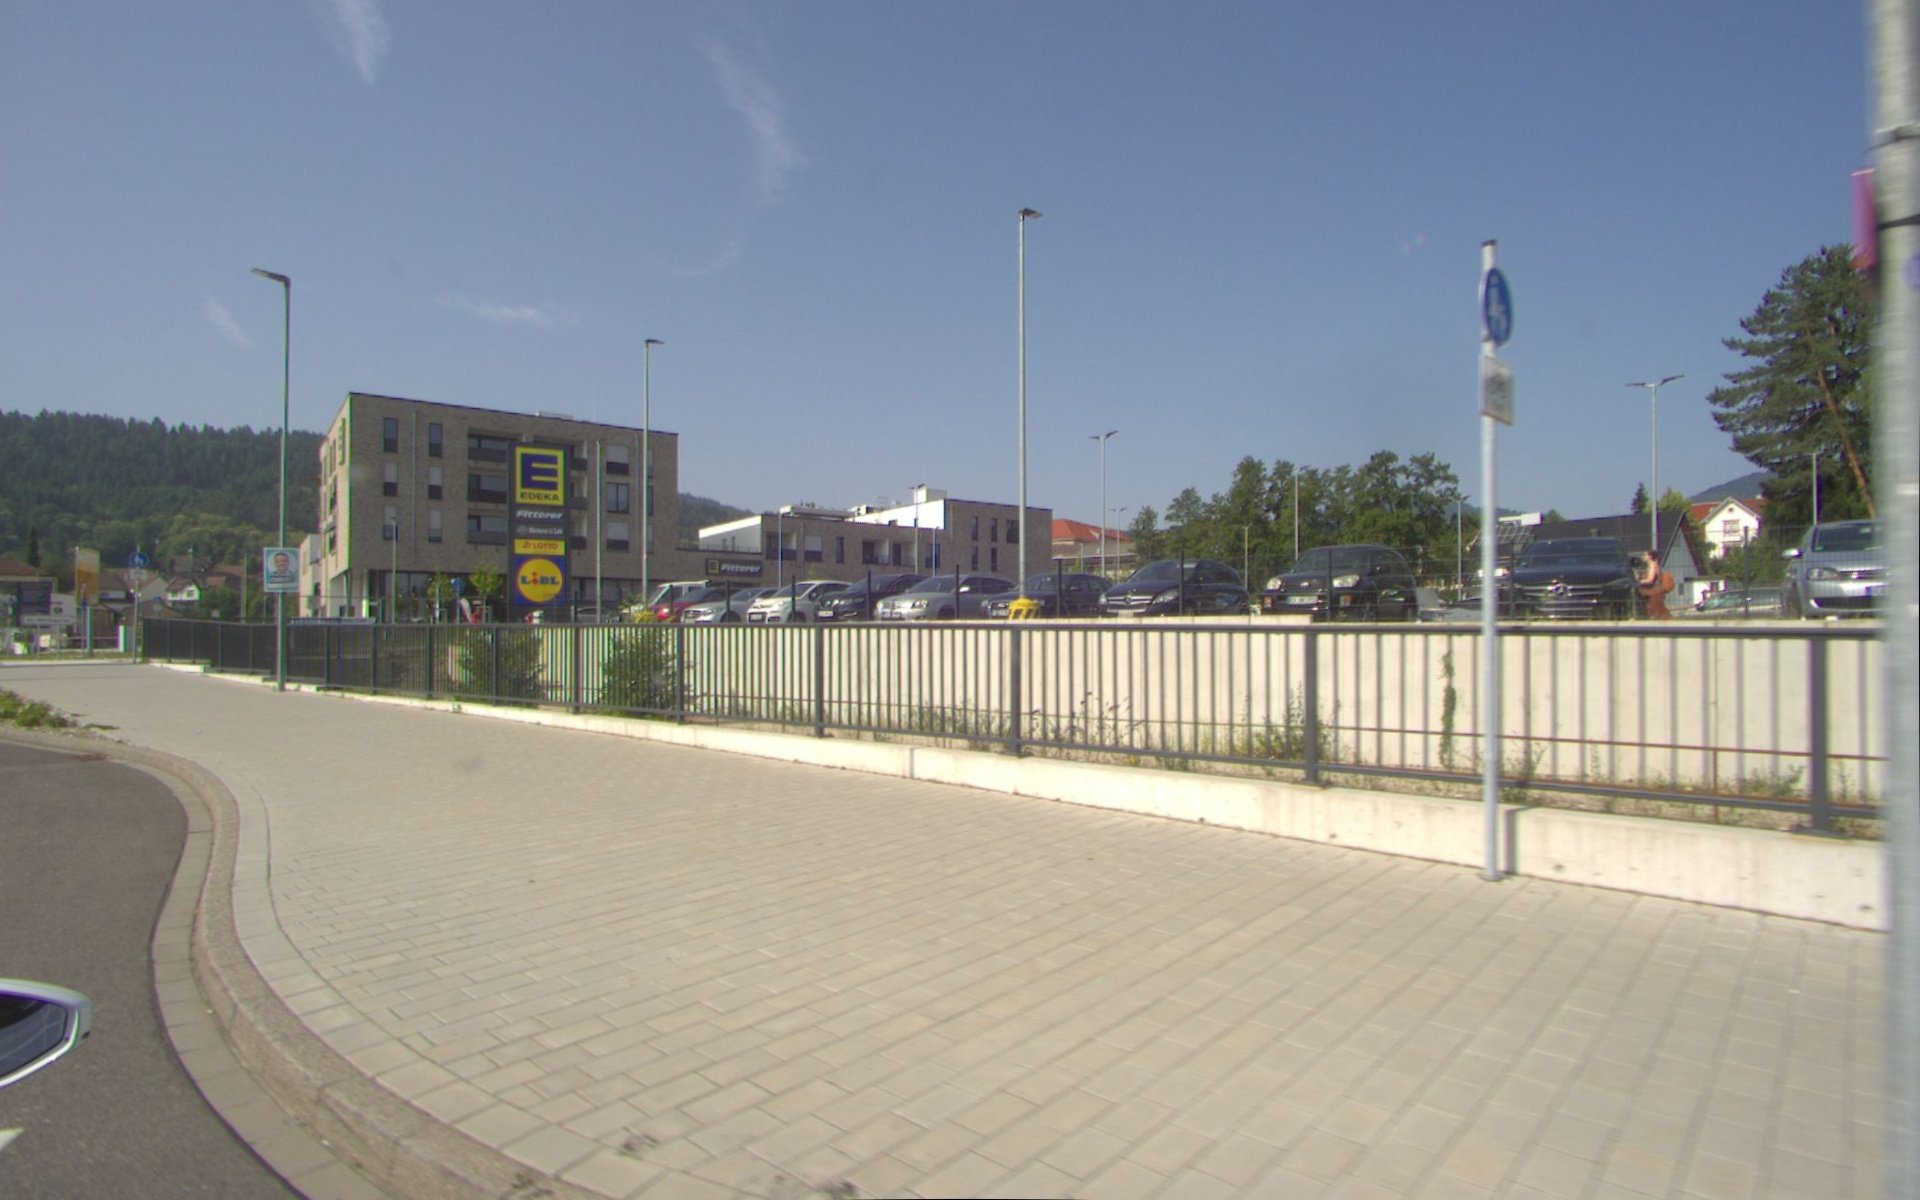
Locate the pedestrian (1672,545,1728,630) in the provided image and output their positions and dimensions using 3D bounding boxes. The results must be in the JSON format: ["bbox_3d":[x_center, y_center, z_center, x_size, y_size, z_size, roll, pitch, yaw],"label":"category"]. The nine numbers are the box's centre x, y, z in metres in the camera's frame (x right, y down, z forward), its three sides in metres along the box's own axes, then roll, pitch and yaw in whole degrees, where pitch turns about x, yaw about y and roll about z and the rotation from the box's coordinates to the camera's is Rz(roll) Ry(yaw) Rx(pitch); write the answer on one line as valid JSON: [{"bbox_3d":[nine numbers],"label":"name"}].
[{"bbox_3d":[13.099,-0.203,17.726,0.764,1.445,0.546,-1,-1,37],"label":"pedestrian"}]

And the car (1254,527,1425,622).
[{"bbox_3d":[6.851,-0.361,17.824,1.704,1.422,3.990,0,-2,39],"label":"car"}]

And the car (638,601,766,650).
[{"bbox_3d":[-7.955,0.806,31.059,1.690,1.448,3.541,0,-2,39],"label":"car"}]

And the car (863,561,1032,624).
[{"bbox_3d":[-0.193,-0.111,23.420,1.644,1.261,4.262,0,-2,39],"label":"car"}]

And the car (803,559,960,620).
[{"bbox_3d":[-1.908,-0.197,25.375,1.640,1.359,4.021,0,-2,39],"label":"car"}]

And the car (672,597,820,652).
[{"bbox_3d":[-6.188,0.742,29.309,1.697,1.506,4.037,0,-2,42],"label":"car"}]

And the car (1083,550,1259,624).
[{"bbox_3d":[4.287,-0.182,19.898,1.723,1.261,4.197,0,-2,39],"label":"car"}]

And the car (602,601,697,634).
[{"bbox_3d":[-14.299,0.829,46.148,3.940,1.466,1.670,0,-2,-28],"label":"car"}]

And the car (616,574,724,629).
[{"bbox_3d":[-11.902,0.097,41.112,3.942,2.163,1.991,0,-2,-30],"label":"car"}]

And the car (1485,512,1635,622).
[{"bbox_3d":[9.419,-0.408,15.575,1.468,1.422,4.046,0,-2,39],"label":"car"}]

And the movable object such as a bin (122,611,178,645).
[{"bbox_3d":[-45.660,1.582,56.453,2.426,1.867,1.416,1,-2,-42],"label":"movable object such as a bin"}]

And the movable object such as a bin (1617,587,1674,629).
[{"bbox_3d":[12.452,0.153,18.191,0.827,0.733,0.481,-2,-2,36],"label":"movable object such as a bin"}]

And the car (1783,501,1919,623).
[{"bbox_3d":[12.195,-0.408,13.494,1.660,1.382,3.791,0,-2,39],"label":"car"}]

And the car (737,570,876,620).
[{"bbox_3d":[-4.121,-0.084,27.292,1.694,1.214,3.541,0,-2,39],"label":"car"}]

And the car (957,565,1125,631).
[{"bbox_3d":[1.833,0.016,21.652,1.709,1.261,3.951,0,-2,39],"label":"car"}]
